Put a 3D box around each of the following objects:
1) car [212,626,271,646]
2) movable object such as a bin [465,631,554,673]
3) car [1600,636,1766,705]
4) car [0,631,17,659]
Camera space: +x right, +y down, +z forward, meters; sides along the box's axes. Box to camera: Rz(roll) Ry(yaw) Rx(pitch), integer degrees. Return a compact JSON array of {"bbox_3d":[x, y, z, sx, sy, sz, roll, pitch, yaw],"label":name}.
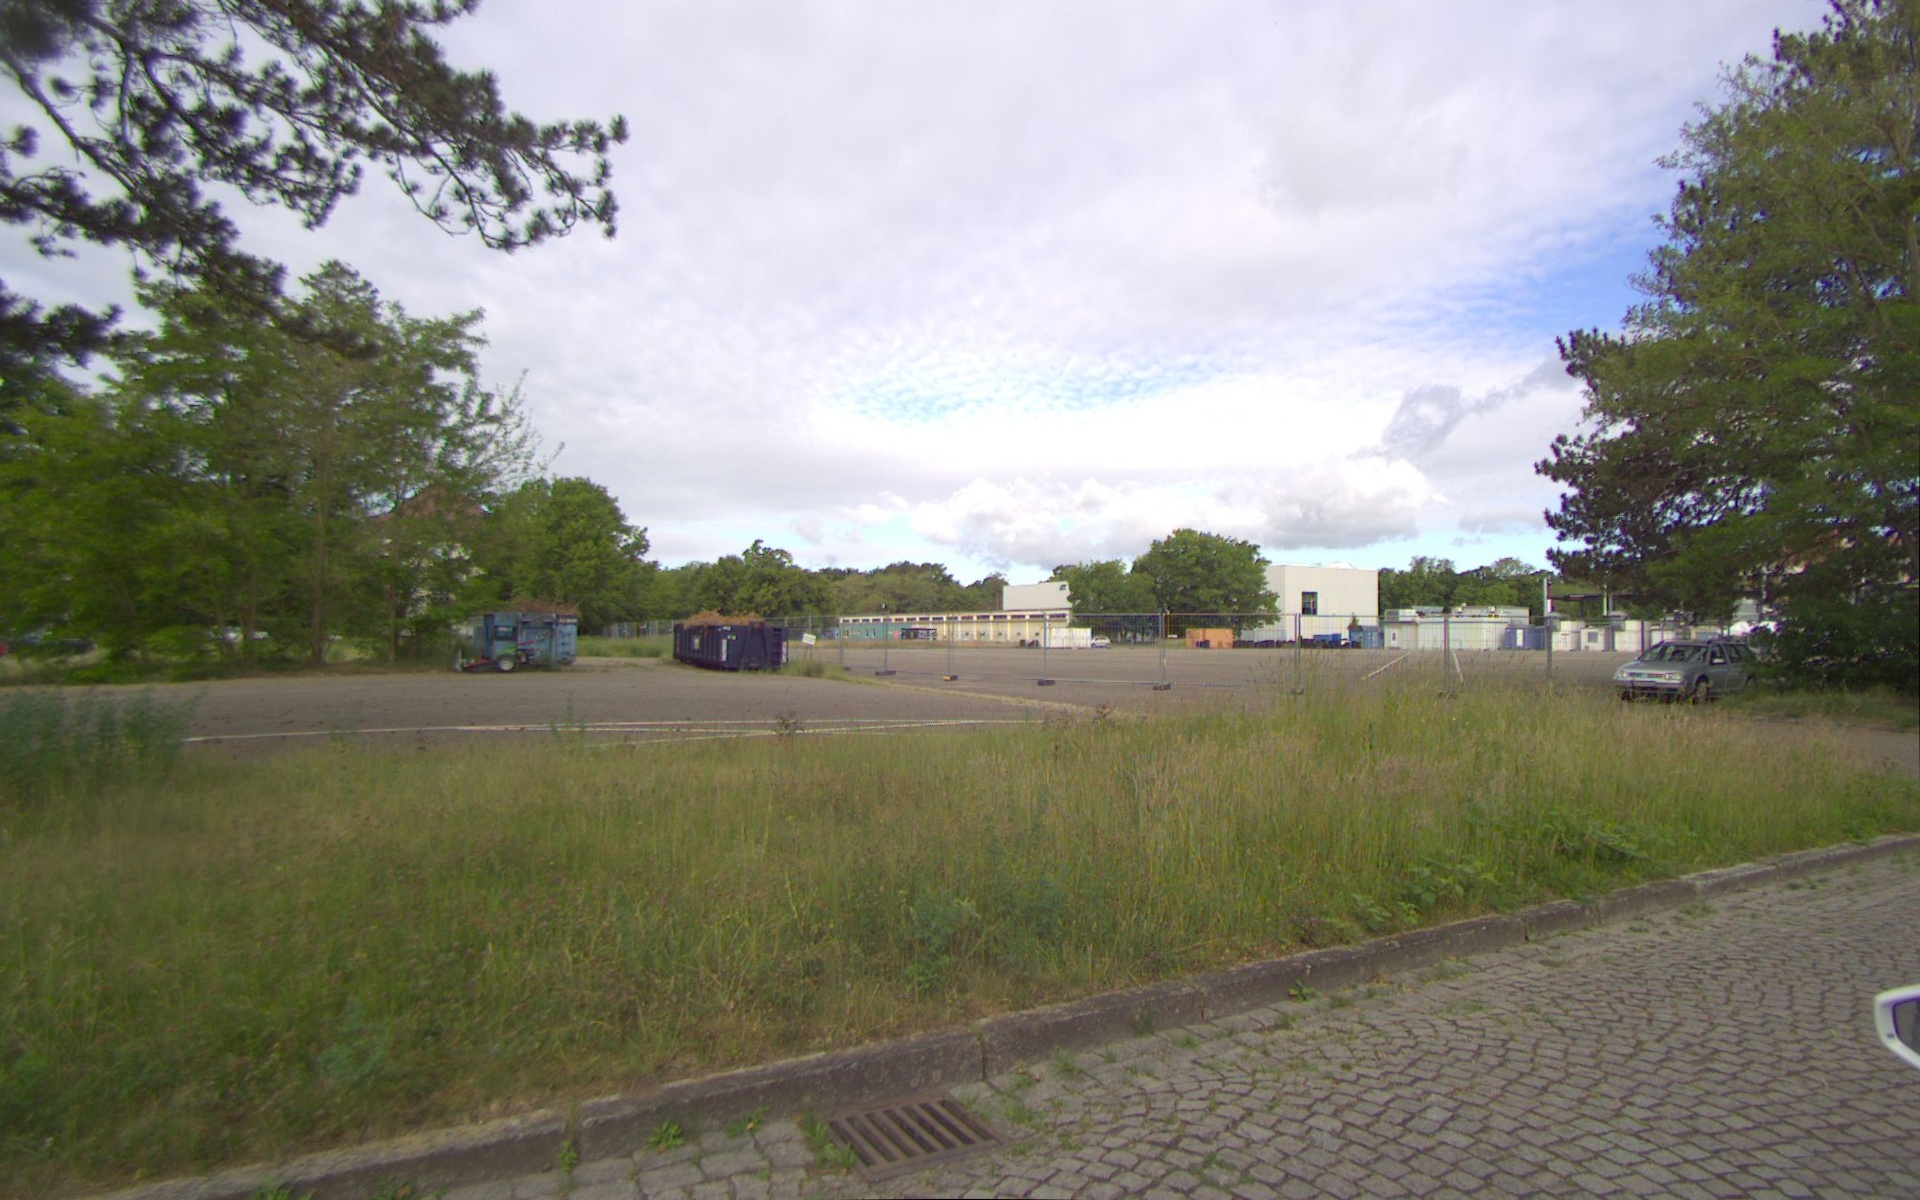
[{"bbox_3d":[-79.062,3.977,110.659,5.095,2.177,1.760,3,-3,-32],"label":"car"},{"bbox_3d":[-12.876,1.488,28.726,2.242,1.140,0.852,2,-2,-31],"label":"movable object such as a bin"},{"bbox_3d":[17.367,1.637,24.097,4.112,1.451,1.722,0,-1,-30],"label":"car"},{"bbox_3d":[-52.741,2.331,52.960,4.035,1.463,1.715,2,-3,-27],"label":"car"}]
